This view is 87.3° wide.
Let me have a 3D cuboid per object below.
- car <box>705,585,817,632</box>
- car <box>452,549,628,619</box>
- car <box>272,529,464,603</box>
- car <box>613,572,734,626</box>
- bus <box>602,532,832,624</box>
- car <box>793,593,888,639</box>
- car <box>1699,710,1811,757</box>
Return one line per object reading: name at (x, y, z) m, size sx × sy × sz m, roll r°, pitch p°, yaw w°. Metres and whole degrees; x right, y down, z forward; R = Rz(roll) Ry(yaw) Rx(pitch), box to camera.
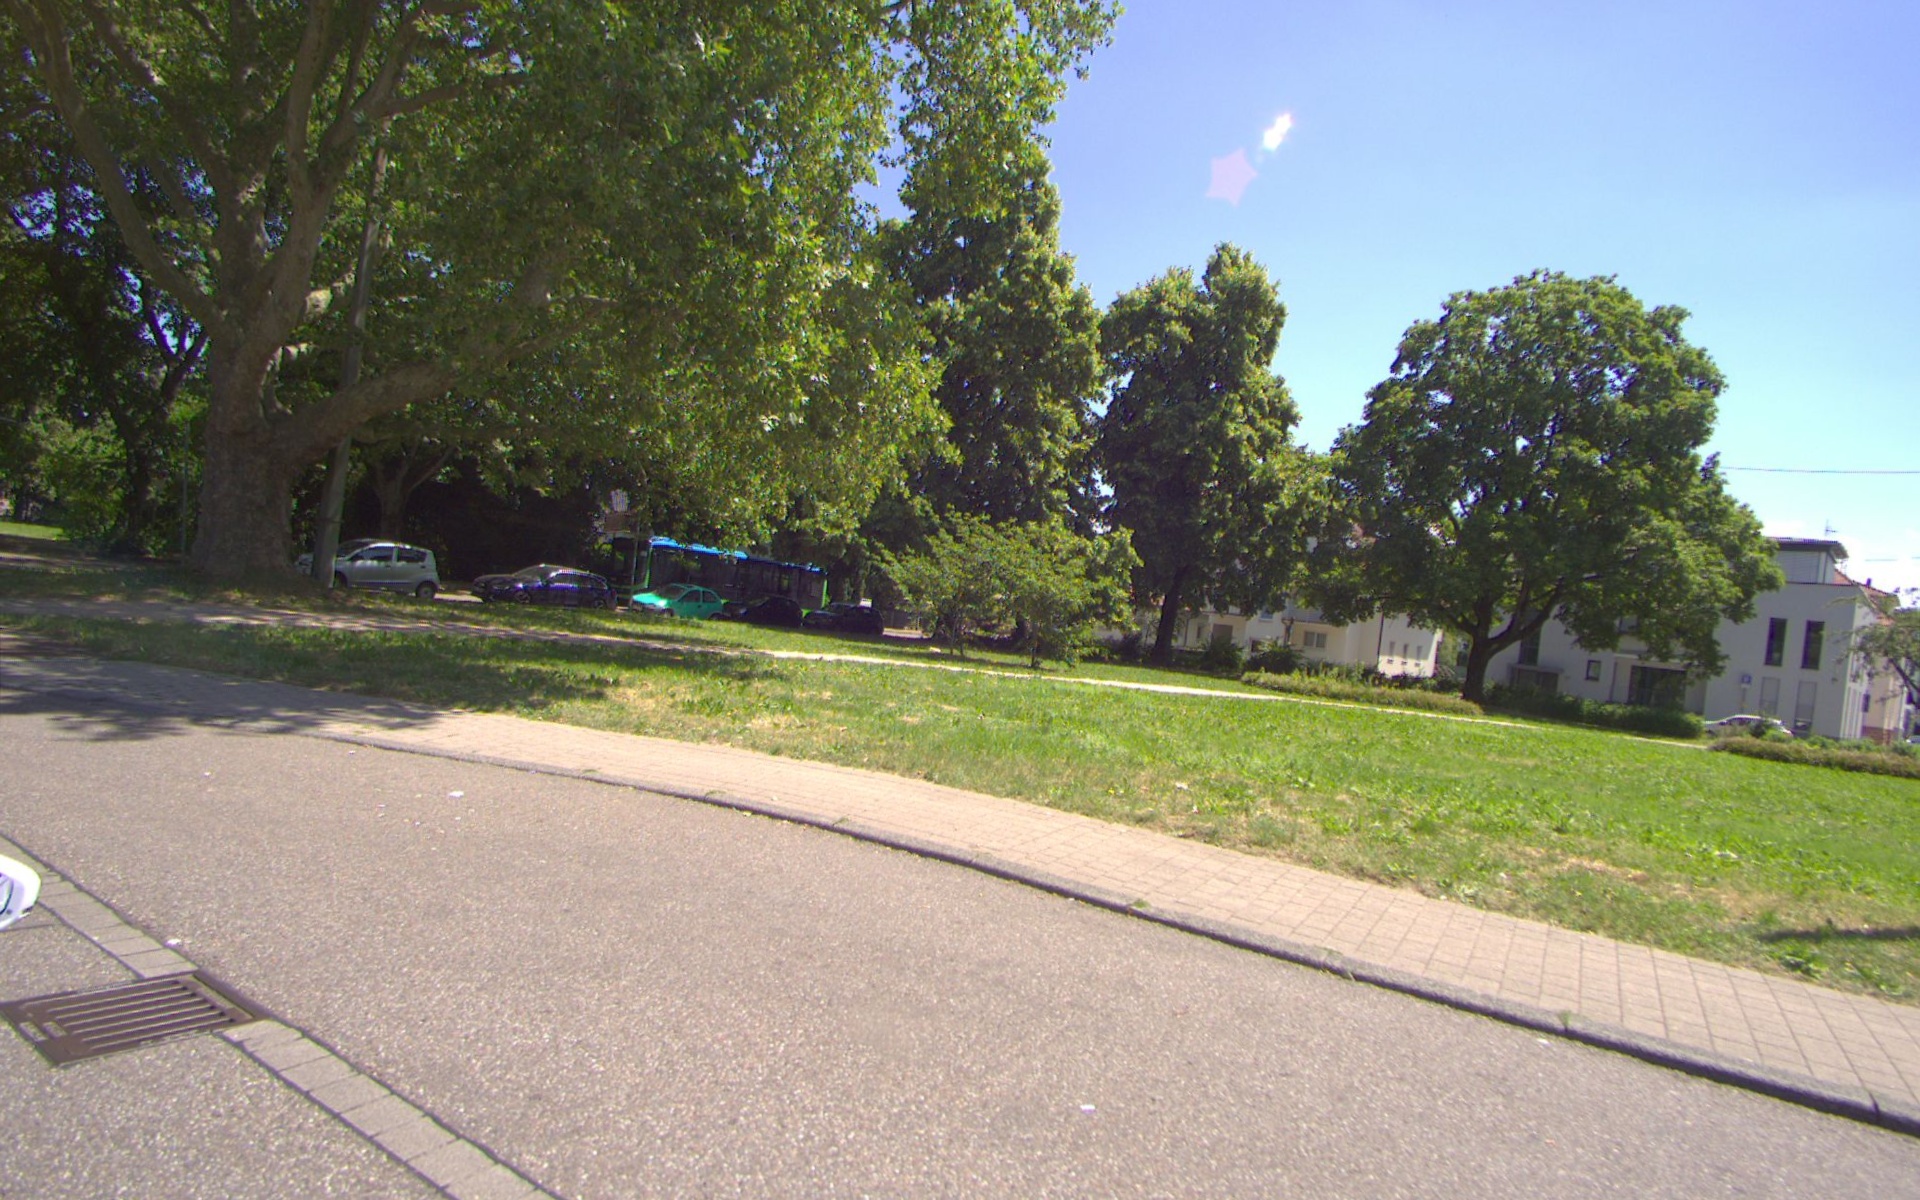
car at (-8.103, 0.381, 41.264) m, size 1.967 × 1.433 × 4.344 m, roll 5°, pitch -2°, yaw 32°
car at (-13.358, -0.472, 32.325) m, size 1.969 × 1.626 × 4.828 m, roll 5°, pitch -2°, yaw 34°
car at (-16.444, -0.899, 28.144) m, size 1.968 × 1.483 × 4.110 m, roll 5°, pitch -2°, yaw 33°
car at (-10.526, -0.007, 37.164) m, size 1.967 × 1.471 × 3.887 m, roll 5°, pitch -2°, yaw 32°
bus at (-10.891, -0.838, 47.324) m, size 2.231 × 3.013 × 12.395 m, roll 6°, pitch -1°, yaw 32°
car at (-5.380, 0.757, 45.698) m, size 1.968 × 1.627 × 4.102 m, roll 5°, pitch -2°, yaw 33°
car at (35.209, 5.888, 44.633) m, size 1.457 × 1.450 × 3.659 m, roll 6°, pitch 0°, yaw -45°
